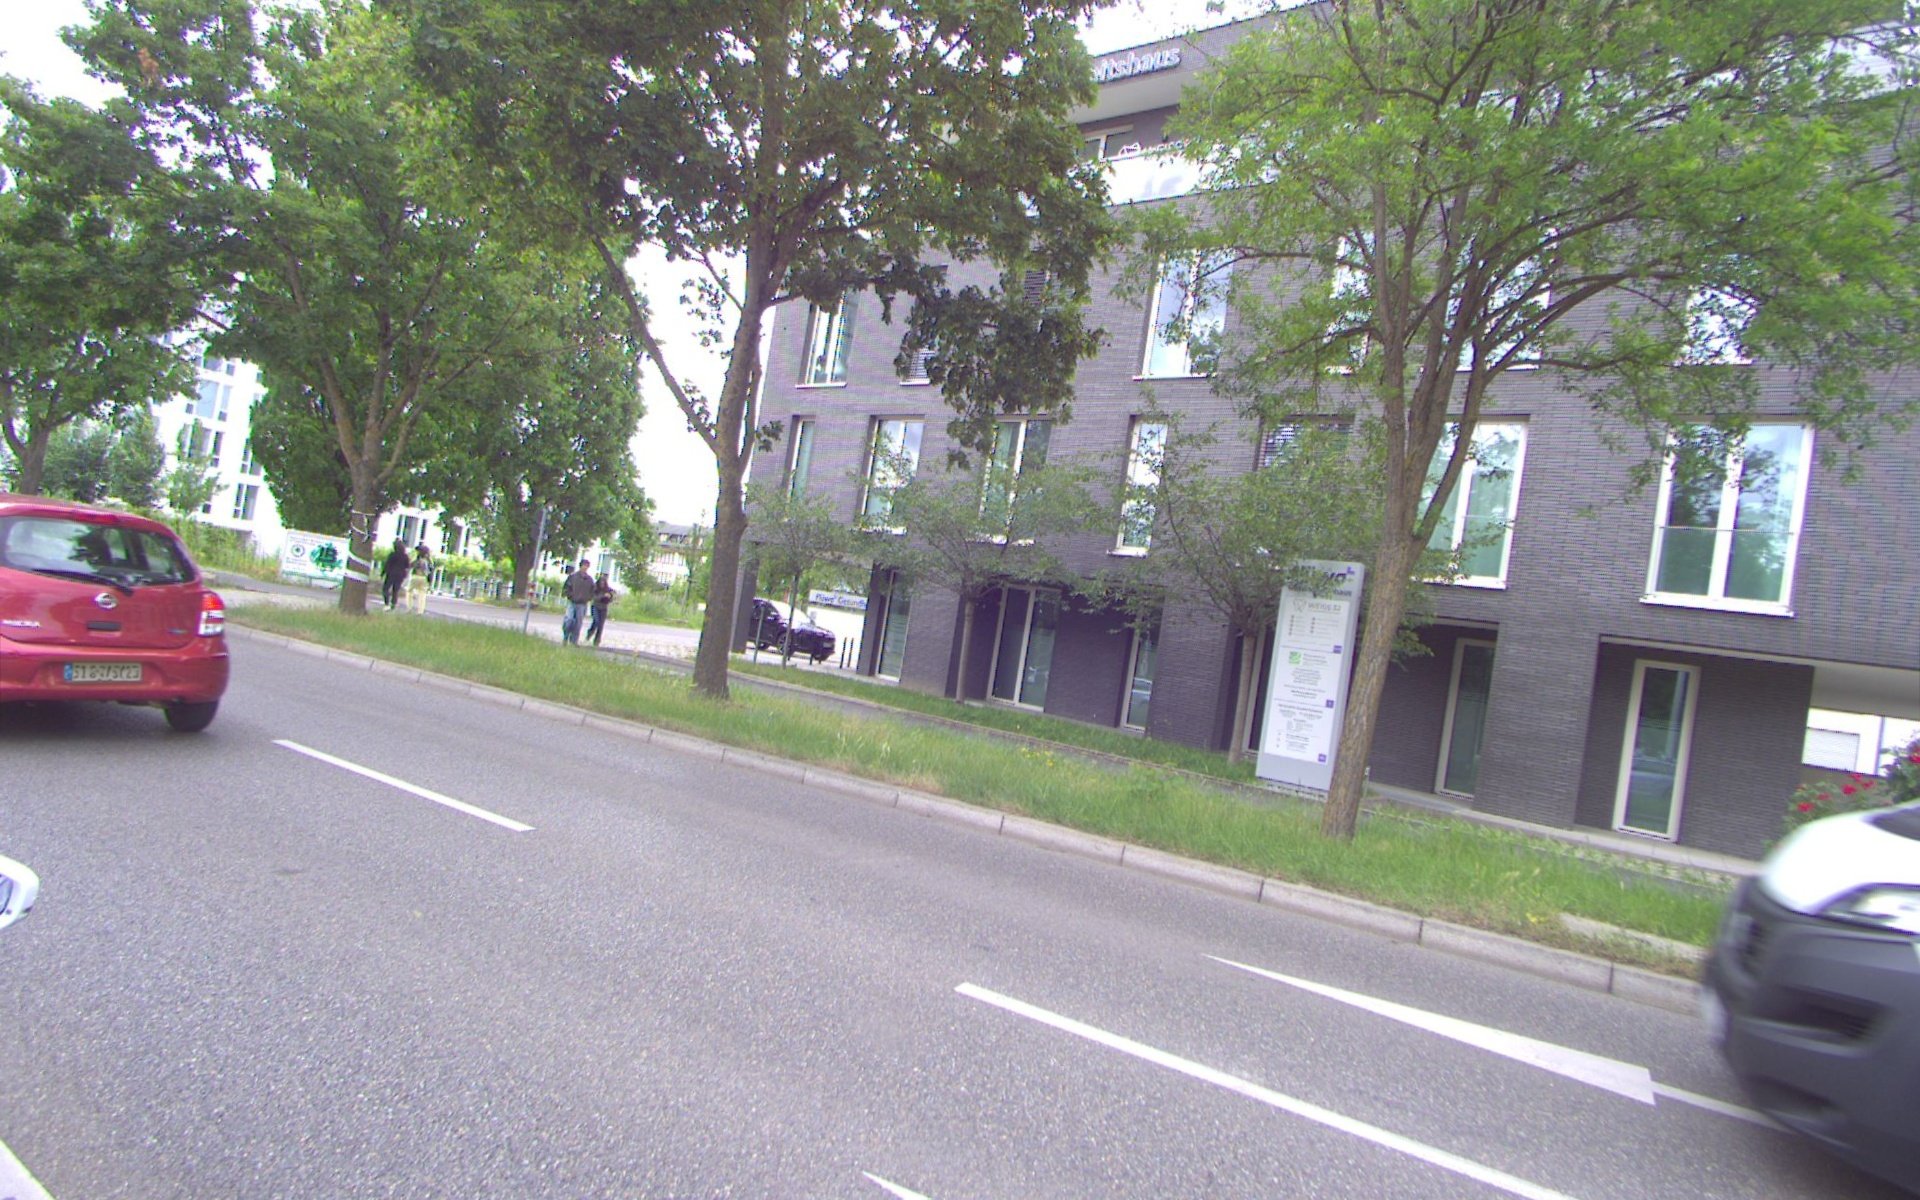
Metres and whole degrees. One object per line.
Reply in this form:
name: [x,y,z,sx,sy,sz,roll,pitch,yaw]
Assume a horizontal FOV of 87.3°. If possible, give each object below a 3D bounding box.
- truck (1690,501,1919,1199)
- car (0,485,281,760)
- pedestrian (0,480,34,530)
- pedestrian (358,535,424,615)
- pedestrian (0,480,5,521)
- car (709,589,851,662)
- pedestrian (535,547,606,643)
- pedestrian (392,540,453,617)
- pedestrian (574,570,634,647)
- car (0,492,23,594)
truck: [5.537,1.187,2.466,5.750,2.228,2.215,7,-2,34]
car: [-6.846,-0.005,7.226,3.793,1.577,1.719,7,-1,31]
pedestrian: [-34.989,-3.517,37.153,0.868,1.705,0.768,6,-1,31]
pedestrian: [-13.259,-0.583,23.449,1.043,1.679,0.796,7,-1,38]
pedestrian: [-35.359,-3.592,36.493,0.868,1.614,0.701,6,-1,31]
car: [-5.635,0.776,31.409,4.080,1.665,1.759,7,-2,32]
pedestrian: [-8.330,-0.104,21.521,0.956,1.889,0.968,9,-2,-39]
pedestrian: [-12.880,-0.508,24.122,0.937,1.679,0.779,7,-1,37]
pedestrian: [-7.940,0.193,22.441,0.829,1.575,0.866,9,-2,-40]
car: [-17.028,-1.166,16.074,4.019,1.574,1.720,7,-1,29]
